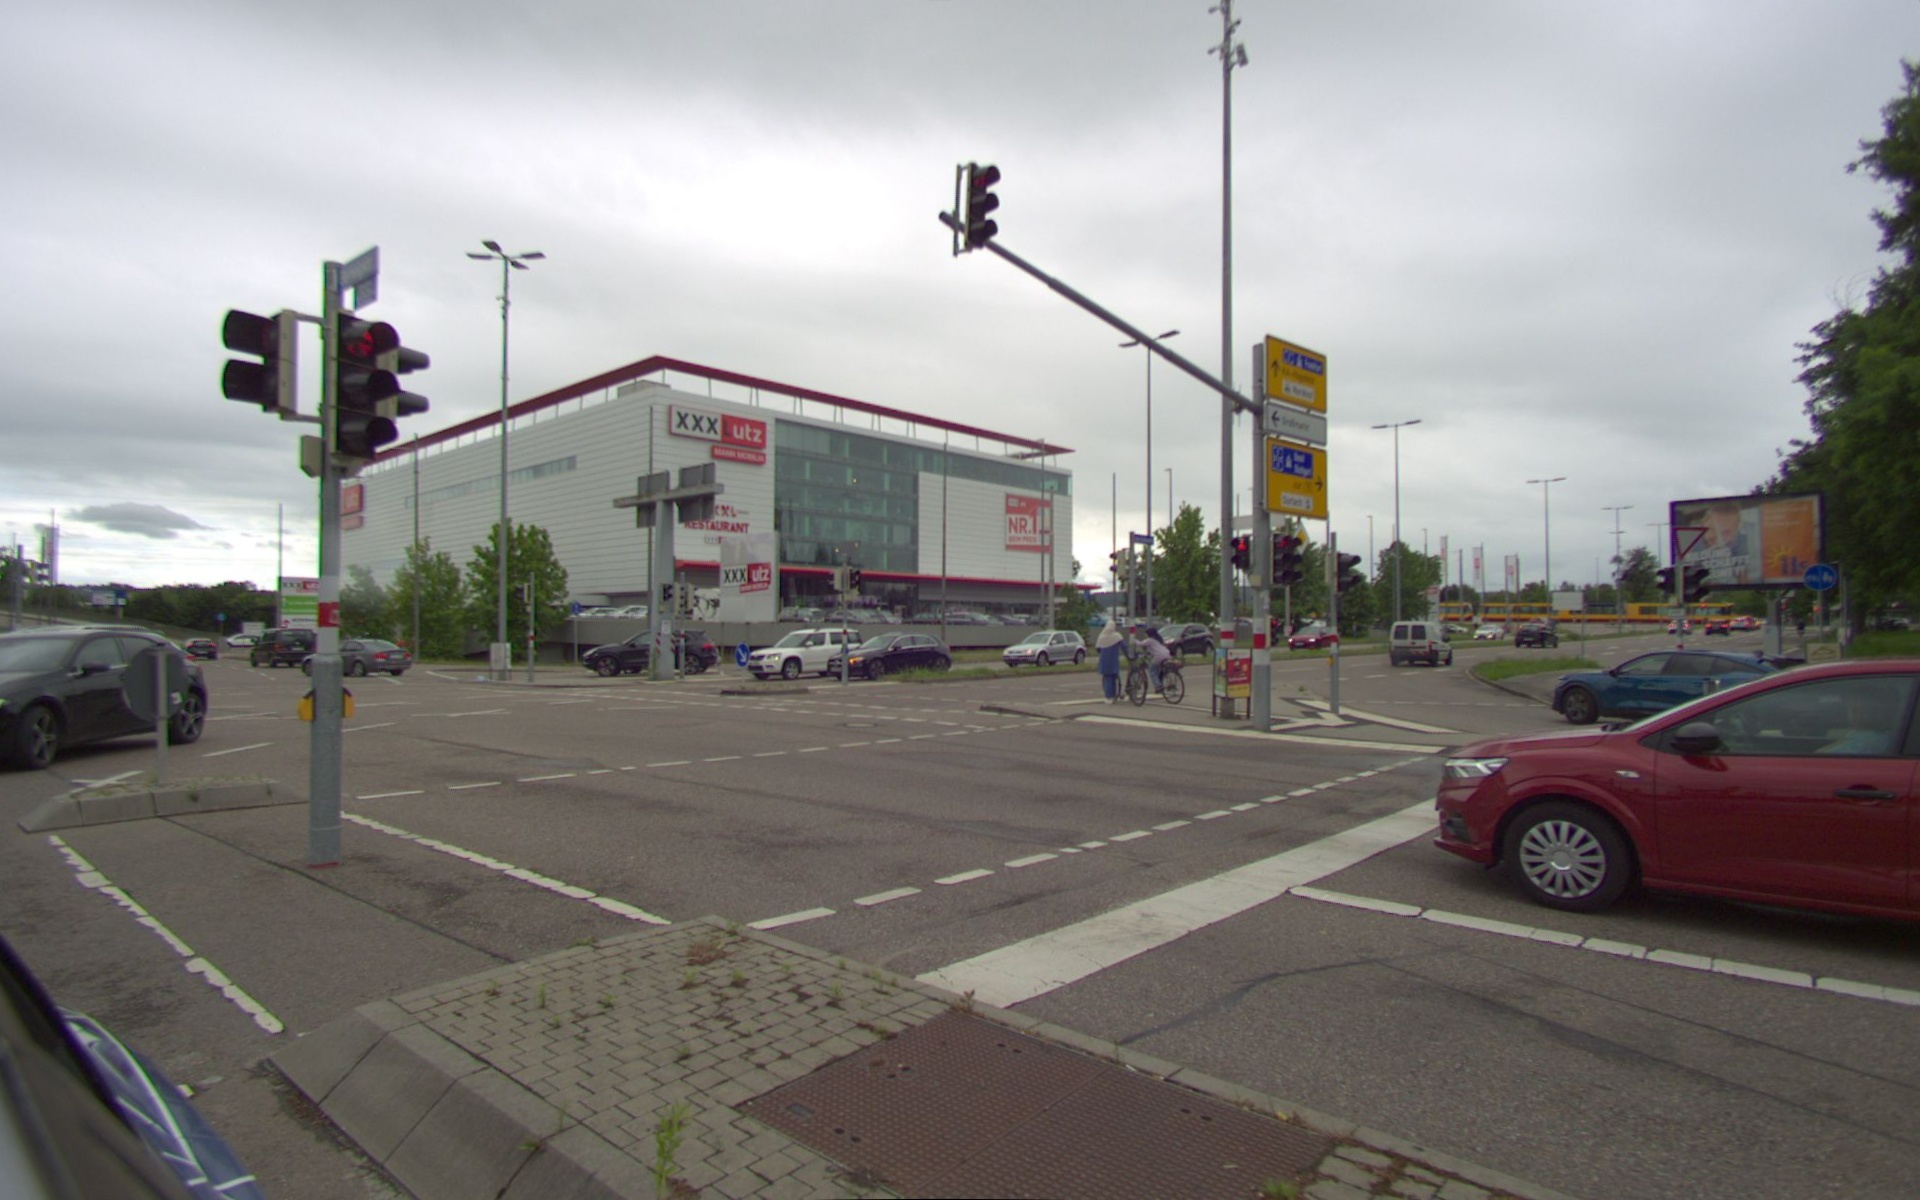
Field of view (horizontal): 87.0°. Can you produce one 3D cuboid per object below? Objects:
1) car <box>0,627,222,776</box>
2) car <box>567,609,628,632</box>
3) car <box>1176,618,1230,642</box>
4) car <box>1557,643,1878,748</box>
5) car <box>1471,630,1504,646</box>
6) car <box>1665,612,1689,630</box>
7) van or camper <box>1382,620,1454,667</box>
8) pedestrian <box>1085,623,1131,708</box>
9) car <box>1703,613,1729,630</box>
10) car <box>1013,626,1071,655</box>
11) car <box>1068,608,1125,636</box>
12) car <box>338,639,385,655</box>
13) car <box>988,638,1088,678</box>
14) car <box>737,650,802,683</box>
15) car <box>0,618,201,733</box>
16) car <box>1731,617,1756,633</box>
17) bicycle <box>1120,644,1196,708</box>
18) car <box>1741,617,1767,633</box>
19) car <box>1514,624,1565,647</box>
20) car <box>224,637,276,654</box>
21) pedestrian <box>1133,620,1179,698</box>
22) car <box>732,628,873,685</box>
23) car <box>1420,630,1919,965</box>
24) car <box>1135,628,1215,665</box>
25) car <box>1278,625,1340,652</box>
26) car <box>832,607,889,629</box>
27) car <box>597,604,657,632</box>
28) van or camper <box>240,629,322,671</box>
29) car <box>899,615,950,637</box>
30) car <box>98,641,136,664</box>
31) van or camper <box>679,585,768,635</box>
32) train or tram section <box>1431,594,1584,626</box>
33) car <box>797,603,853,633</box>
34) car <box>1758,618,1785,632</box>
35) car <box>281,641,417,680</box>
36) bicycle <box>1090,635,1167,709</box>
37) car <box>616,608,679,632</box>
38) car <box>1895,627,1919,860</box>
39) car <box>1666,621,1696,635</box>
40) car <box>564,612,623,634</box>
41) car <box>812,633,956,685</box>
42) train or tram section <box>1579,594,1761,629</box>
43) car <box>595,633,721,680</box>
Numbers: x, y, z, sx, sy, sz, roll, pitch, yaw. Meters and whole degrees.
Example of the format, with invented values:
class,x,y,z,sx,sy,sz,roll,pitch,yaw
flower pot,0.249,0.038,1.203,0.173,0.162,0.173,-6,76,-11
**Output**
class,x,y,z,sx,sy,sz,roll,pitch,yaw
car,-10.450,1.086,11.260,1.831,1.445,4.202,-1,-3,-7
car,-28.697,1.620,80.191,1.777,1.688,4.198,-4,-3,44
car,22.296,2.725,93.021,4.326,2.029,1.972,-4,-3,42
car,12.679,1.525,17.289,1.672,1.499,4.131,2,-2,-20
car,52.231,3.772,100.180,1.803,1.426,4.158,-4,-3,44
car,89.713,2.611,126.581,1.999,2.236,3.945,-2,-2,41
van or camper,18.357,1.706,40.467,1.993,1.735,4.347,-4,-3,32
pedestrian,2.941,1.288,20.172,0.630,1.639,0.694,1,-1,-22
car,77.577,2.199,103.820,1.848,1.668,4.301,1,0,42
car,6.186,3.049,76.595,3.999,2.029,1.972,-4,-3,42
car,10.663,1.718,79.197,3.999,2.029,1.972,-4,-3,42
car,-66.312,5.229,112.139,1.721,1.622,4.140,-4,-3,41
car,3.227,2.353,41.324,1.803,1.426,4.158,-4,-3,44
car,-12.913,4.479,68.627,1.998,2.029,3.946,-4,-3,40
car,-14.695,1.189,16.354,1.820,1.634,4.335,-2,-2,-3
car,94.755,3.051,122.341,3.865,1.901,1.850,1,-1,-43
bicycle,4.098,1.550,21.076,0.499,1.174,1.954,-2,0,-23
car,98.804,3.130,125.925,3.865,1.901,1.850,2,-4,-43
car,35.661,2.199,62.248,1.728,1.382,3.941,-1,-2,45
car,-72.201,4.646,102.942,4.133,1.622,1.724,0,-4,-42
pedestrian,4.082,1.219,21.109,0.642,1.560,0.652,-2,0,-23
car,-5.102,1.828,33.193,1.801,1.637,4.310,-4,-3,45
car,4.857,0.959,5.409,4.075,1.499,1.717,0,-3,40
car,10.359,2.206,48.629,1.803,1.586,4.158,-4,-3,44
car,20.600,2.280,59.686,1.803,1.426,4.158,-4,-3,44
car,-7.248,1.333,73.510,3.992,1.448,1.844,-4,-3,41
car,-26.041,1.400,79.125,3.941,2.029,2.001,0,-3,-45
van or camper,-34.444,2.569,51.268,4.939,2.029,2.135,-3,-5,40
car,-3.052,2.233,86.207,3.998,1.752,1.972,-4,-3,42
car,-59.717,3.746,71.762,1.805,1.421,4.206,5,-7,-37
van or camper,-16.840,0.771,71.817,7.239,3.159,2.675,-4,-3,45
train or tram section,94.932,1.862,176.361,23.275,4.875,3.583,-3,-2,41
car,-9.486,1.259,71.064,3.868,1.962,1.843,-4,-3,43
car,104.718,3.212,130.594,3.863,1.732,1.851,0,-3,-40
car,-23.448,2.337,38.820,4.839,1.422,1.806,-2,-4,19
bicycle,3.368,1.419,20.413,0.587,1.407,1.940,2,-2,-22
car,-23.605,1.485,76.486,1.777,1.688,4.198,-4,-3,44
car,8.888,1.049,6.315,4.329,1.650,1.861,-1,-5,39
car,75.378,2.914,105.811,3.872,1.463,1.789,1,-1,-42
car,-30.099,1.858,83.128,1.777,1.688,4.198,-4,-3,44
car,-2.306,1.801,31.357,4.193,1.389,1.770,0,-3,-42
train or tram section,112.337,1.948,160.938,23.275,4.875,3.583,-3,-2,41
car,-10.947,2.059,36.920,4.301,1.637,1.805,0,-4,-14
